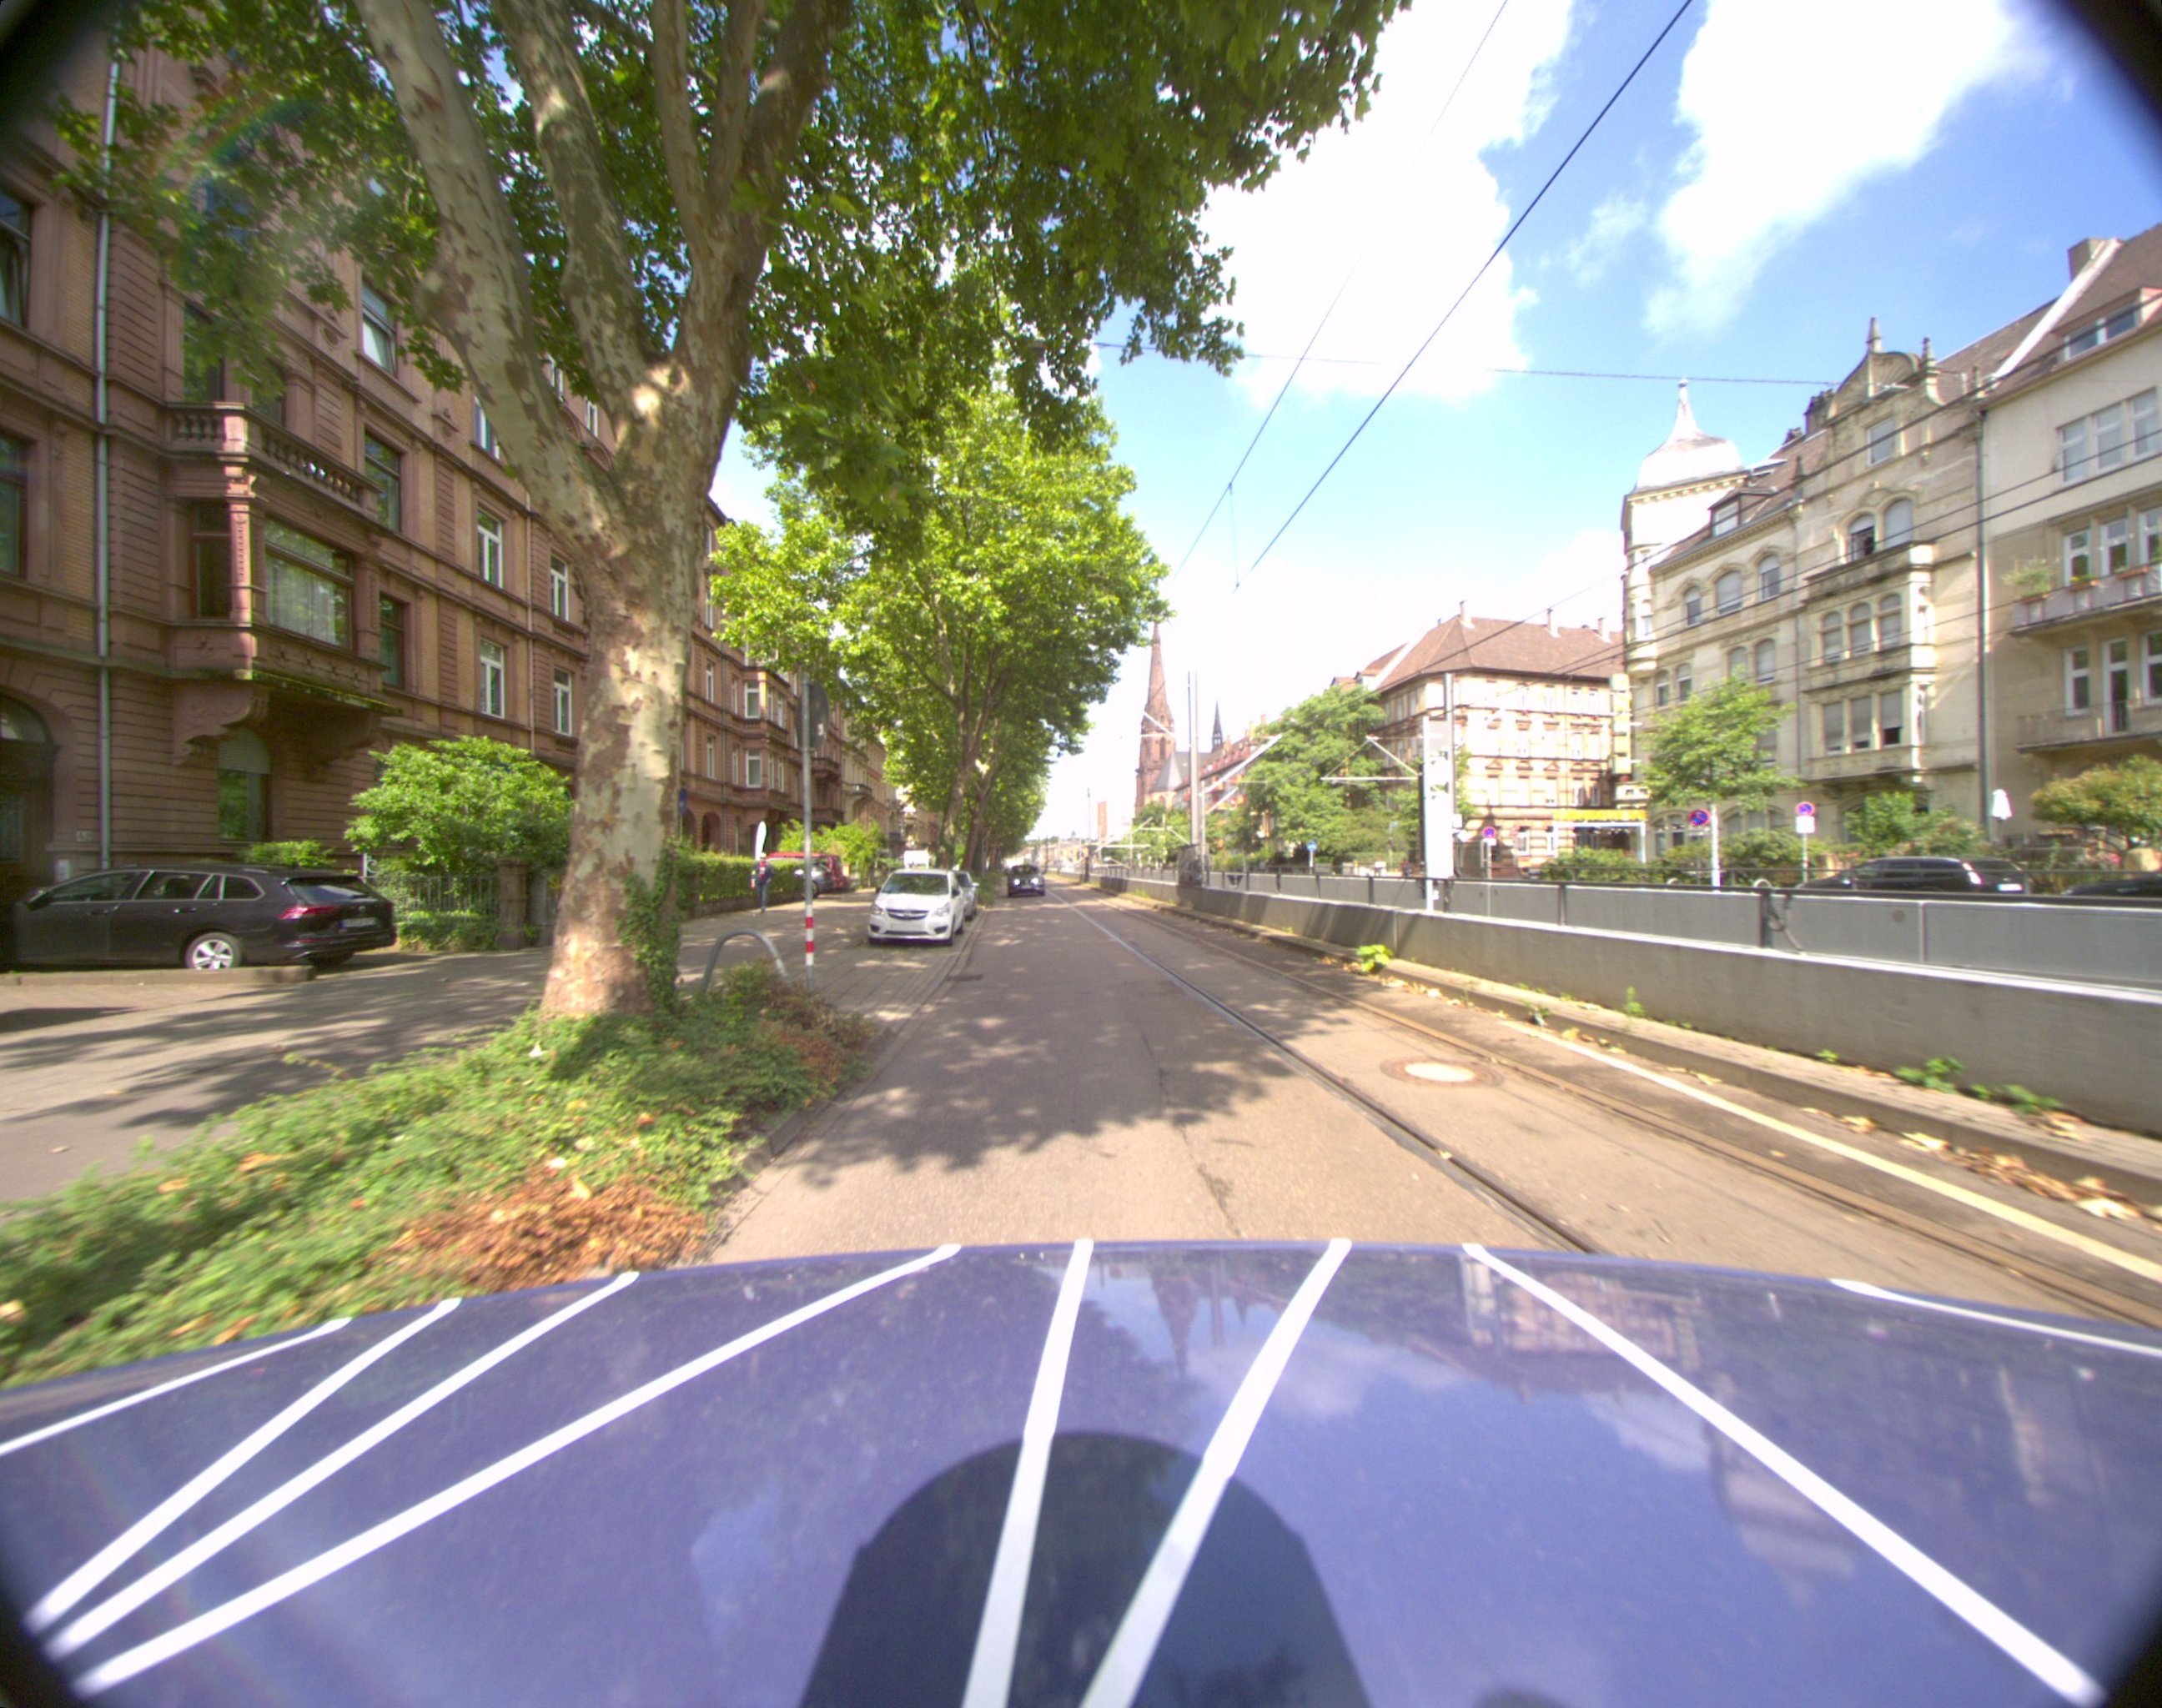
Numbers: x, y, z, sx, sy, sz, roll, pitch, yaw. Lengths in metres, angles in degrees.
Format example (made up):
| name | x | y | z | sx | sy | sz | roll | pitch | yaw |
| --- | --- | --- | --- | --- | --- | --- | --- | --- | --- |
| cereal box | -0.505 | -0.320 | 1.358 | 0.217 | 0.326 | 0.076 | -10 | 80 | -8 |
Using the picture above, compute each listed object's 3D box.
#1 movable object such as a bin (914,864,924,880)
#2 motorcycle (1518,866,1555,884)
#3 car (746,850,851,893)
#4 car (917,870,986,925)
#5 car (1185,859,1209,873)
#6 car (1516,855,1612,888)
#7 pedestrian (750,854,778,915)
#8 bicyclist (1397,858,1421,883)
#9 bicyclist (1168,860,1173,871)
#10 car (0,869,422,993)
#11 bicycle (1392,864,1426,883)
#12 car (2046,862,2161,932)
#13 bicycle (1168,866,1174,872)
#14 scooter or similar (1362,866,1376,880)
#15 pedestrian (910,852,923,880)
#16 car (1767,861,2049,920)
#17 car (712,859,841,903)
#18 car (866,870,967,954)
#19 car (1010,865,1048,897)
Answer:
| name | x | y | z | sx | sy | sz | roll | pitch | yaw |
| --- | --- | --- | --- | --- | --- | --- | --- | --- | --- |
| movable object such as a bin | -11.985 | 1.316 | 56.206 | 0.609 | 1.202 | 1.057 | 2 | -1 | -10 |
| motorcycle | 27.032 | 1.233 | 45.126 | 0.524 | 0.988 | 1.997 | -1 | 0 | -17 |
| car | -13.773 | 0.852 | 37.268 | 4.410 | 1.927 | 1.983 | 2 | -1 | -5 |
| car | -3.734 | 1.213 | 22.443 | 1.683 | 1.435 | 3.857 | 0 | 0 | -5 |
| car | 14.384 | 1.514 | 94.692 | 1.999 | 1.627 | 4.112 | -1 | -1 | -5 |
| car | 25.165 | 0.904 | 39.672 | 3.964 | 1.597 | 2.034 | -1 | 0 | -14 |
| pedestrian | -9.465 | 0.906 | 22.704 | 0.566 | 1.775 | 0.630 | -1 | 0 | -5 |
| bicyclist | 17.662 | 0.889 | 40.883 | 0.770 | 1.330 | 1.048 | 1 | 0 | -4 |
| bicyclist | 11.717 | 1.508 | 99.271 | 0.505 | 1.535 | 0.607 | -1 | 0 | -5 |
| car | -11.898 | 0.965 | 10.210 | 4.247 | 1.460 | 1.941 | 1 | 0 | -5 |
| bicycle | 17.641 | 1.015 | 40.895 | 0.778 | 0.973 | 2.140 | 1 | -1 | -4 |
| car | 21.607 | 0.812 | 14.117 | 2.026 | 1.319 | 4.098 | -1 | -1 | -7 |
| bicycle | 11.767 | 1.891 | 99.213 | 0.497 | 0.763 | 1.816 | 0 | 0 | -5 |
| scooter or similar | 21.565 | 1.413 | 56.907 | 0.378 | 1.075 | 1.287 | -3 | 0 | -5 |
| pedestrian | -11.975 | 0.906 | 55.398 | 0.766 | 2.001 | 1.119 | 2 | -1 | -10 |
| car | 20.924 | 0.859 | 19.608 | 1.954 | 1.319 | 4.724 | -1 | -1 | -4 |
| car | -12.629 | 1.099 | 31.858 | 4.738 | 1.771 | 2.003 | 0 | 0 | -13 |
| car | -3.270 | 1.088 | 15.732 | 1.558 | 1.476 | 3.857 | 0 | 0 | -5 |
| car | -2.605 | 1.297 | 38.028 | 1.800 | 1.454 | 4.566 | -1 | 0 | -4 |
